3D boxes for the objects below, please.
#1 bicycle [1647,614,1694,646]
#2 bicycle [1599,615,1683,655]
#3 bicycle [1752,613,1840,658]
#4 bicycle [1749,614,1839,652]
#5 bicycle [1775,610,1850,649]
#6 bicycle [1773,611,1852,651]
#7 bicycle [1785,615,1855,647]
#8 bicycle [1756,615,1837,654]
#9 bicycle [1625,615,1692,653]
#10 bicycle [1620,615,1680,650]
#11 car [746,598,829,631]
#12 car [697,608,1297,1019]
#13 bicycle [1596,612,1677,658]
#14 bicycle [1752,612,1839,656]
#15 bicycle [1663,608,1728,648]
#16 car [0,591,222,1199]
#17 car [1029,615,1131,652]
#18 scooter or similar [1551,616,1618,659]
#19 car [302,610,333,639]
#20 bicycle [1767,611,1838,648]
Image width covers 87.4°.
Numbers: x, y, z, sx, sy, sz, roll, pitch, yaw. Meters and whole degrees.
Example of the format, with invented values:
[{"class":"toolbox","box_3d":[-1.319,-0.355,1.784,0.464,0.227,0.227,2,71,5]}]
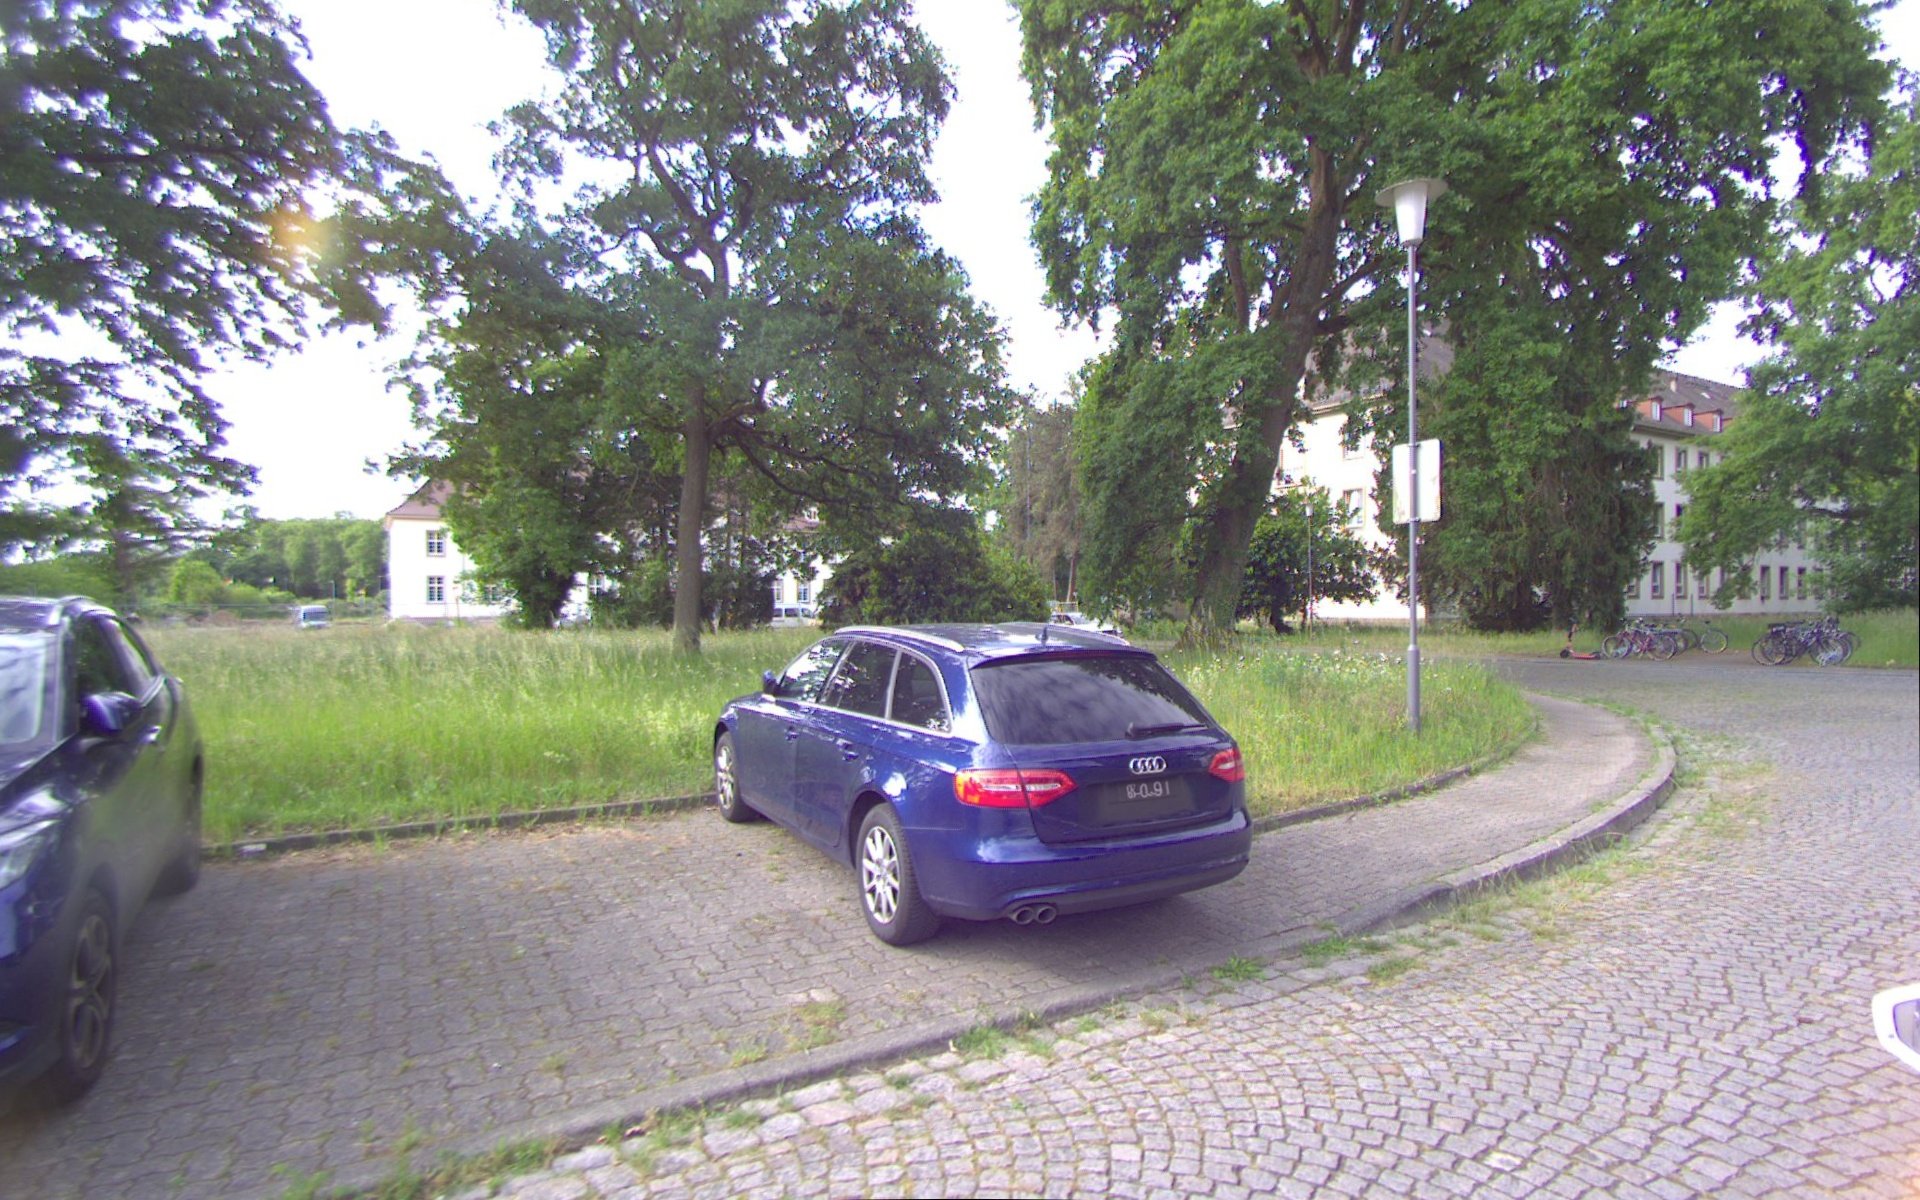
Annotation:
[{"class":"bicycle","box_3d":[23.636,1.003,33.419,1.245,1.042,0.432,-2,-4,41]},{"class":"bicycle","box_3d":[19.876,1.005,29.344,1.962,1.129,0.640,-1,2,41]},{"class":"bicycle","box_3d":[22.163,0.940,26.652,1.748,1.118,0.699,-2,1,41]},{"class":"bicycle","box_3d":[23.570,0.937,28.416,1.931,1.018,0.683,-2,1,41]},{"class":"bicycle","box_3d":[25.420,0.884,29.981,1.677,1.131,0.539,-2,1,41]},{"class":"bicycle","box_3d":[25.076,0.914,29.574,1.751,1.120,0.539,-2,1,41]},{"class":"bicycle","box_3d":[26.264,0.940,30.694,1.598,0.923,0.524,-2,1,41]},{"class":"bicycle","box_3d":[23.088,0.948,27.750,1.672,1.015,0.629,-2,1,41]},{"class":"bicycle","box_3d":[21.124,1.027,30.415,1.601,1.088,0.538,-1,2,30]},{"class":"bicycle","box_3d":[21.770,1.015,31.712,1.489,1.049,0.544,-1,2,30]},{"class":"car","box_3d":[-12.468,1.059,72.652,5.468,2.237,2.108,1,2,-31]},{"class":"car","box_3d":[-0.228,0.823,6.132,1.661,1.499,4.412,-1,0,-29]},{"class":"bicycle","box_3d":[19.434,0.981,28.856,1.873,1.239,0.640,0,2,41]},{"class":"bicycle","box_3d":[22.626,0.919,27.222,1.773,1.118,0.699,-2,1,41]},{"class":"bicycle","box_3d":[23.124,0.881,31.606,1.616,1.201,0.572,-1,2,34]},{"class":"car","box_3d":[-4.088,0.770,3.750,1.770,1.594,4.116,1,-1,-31]},{"class":"car","box_3d":[5.021,1.361,42.740,1.833,1.456,4.667,-1,0,-31]},{"class":"scooter or similar","box_3d":[18.304,1.078,29.473,0.673,1.211,1.542,-1,0,-27]},{"class":"car","box_3d":[-51.002,1.886,79.781,2.017,2.041,4.190,1,2,-33]},{"class":"bicycle","box_3d":[25.614,0.905,30.561,1.598,1.073,0.524,-2,1,41]}]
